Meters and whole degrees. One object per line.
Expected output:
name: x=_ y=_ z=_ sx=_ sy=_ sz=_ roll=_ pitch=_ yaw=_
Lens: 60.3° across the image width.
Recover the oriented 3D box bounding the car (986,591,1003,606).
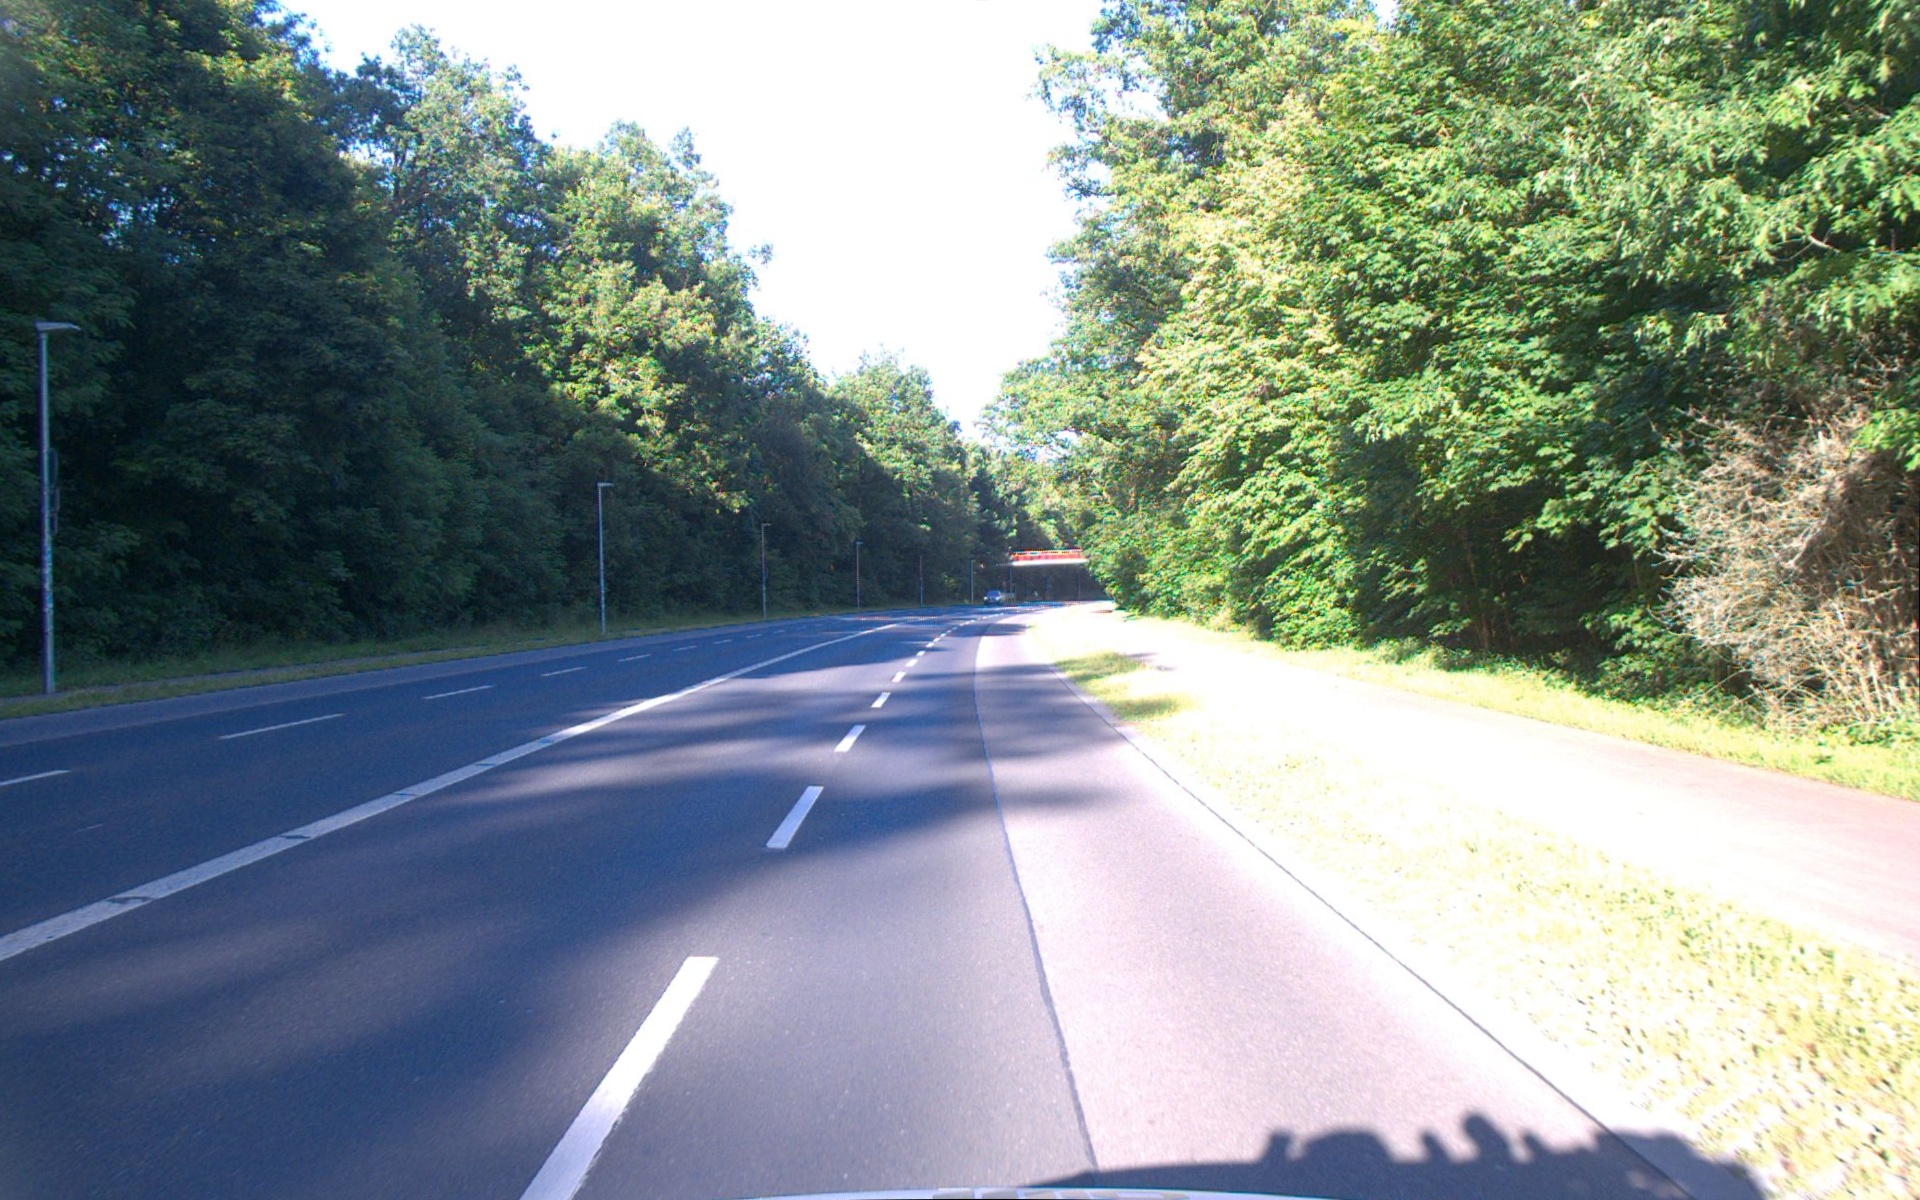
car: x=3.853 y=-0.200 z=185.942 sx=1.770 sy=1.692 sz=4.523 roll=0 pitch=0 yaw=2
